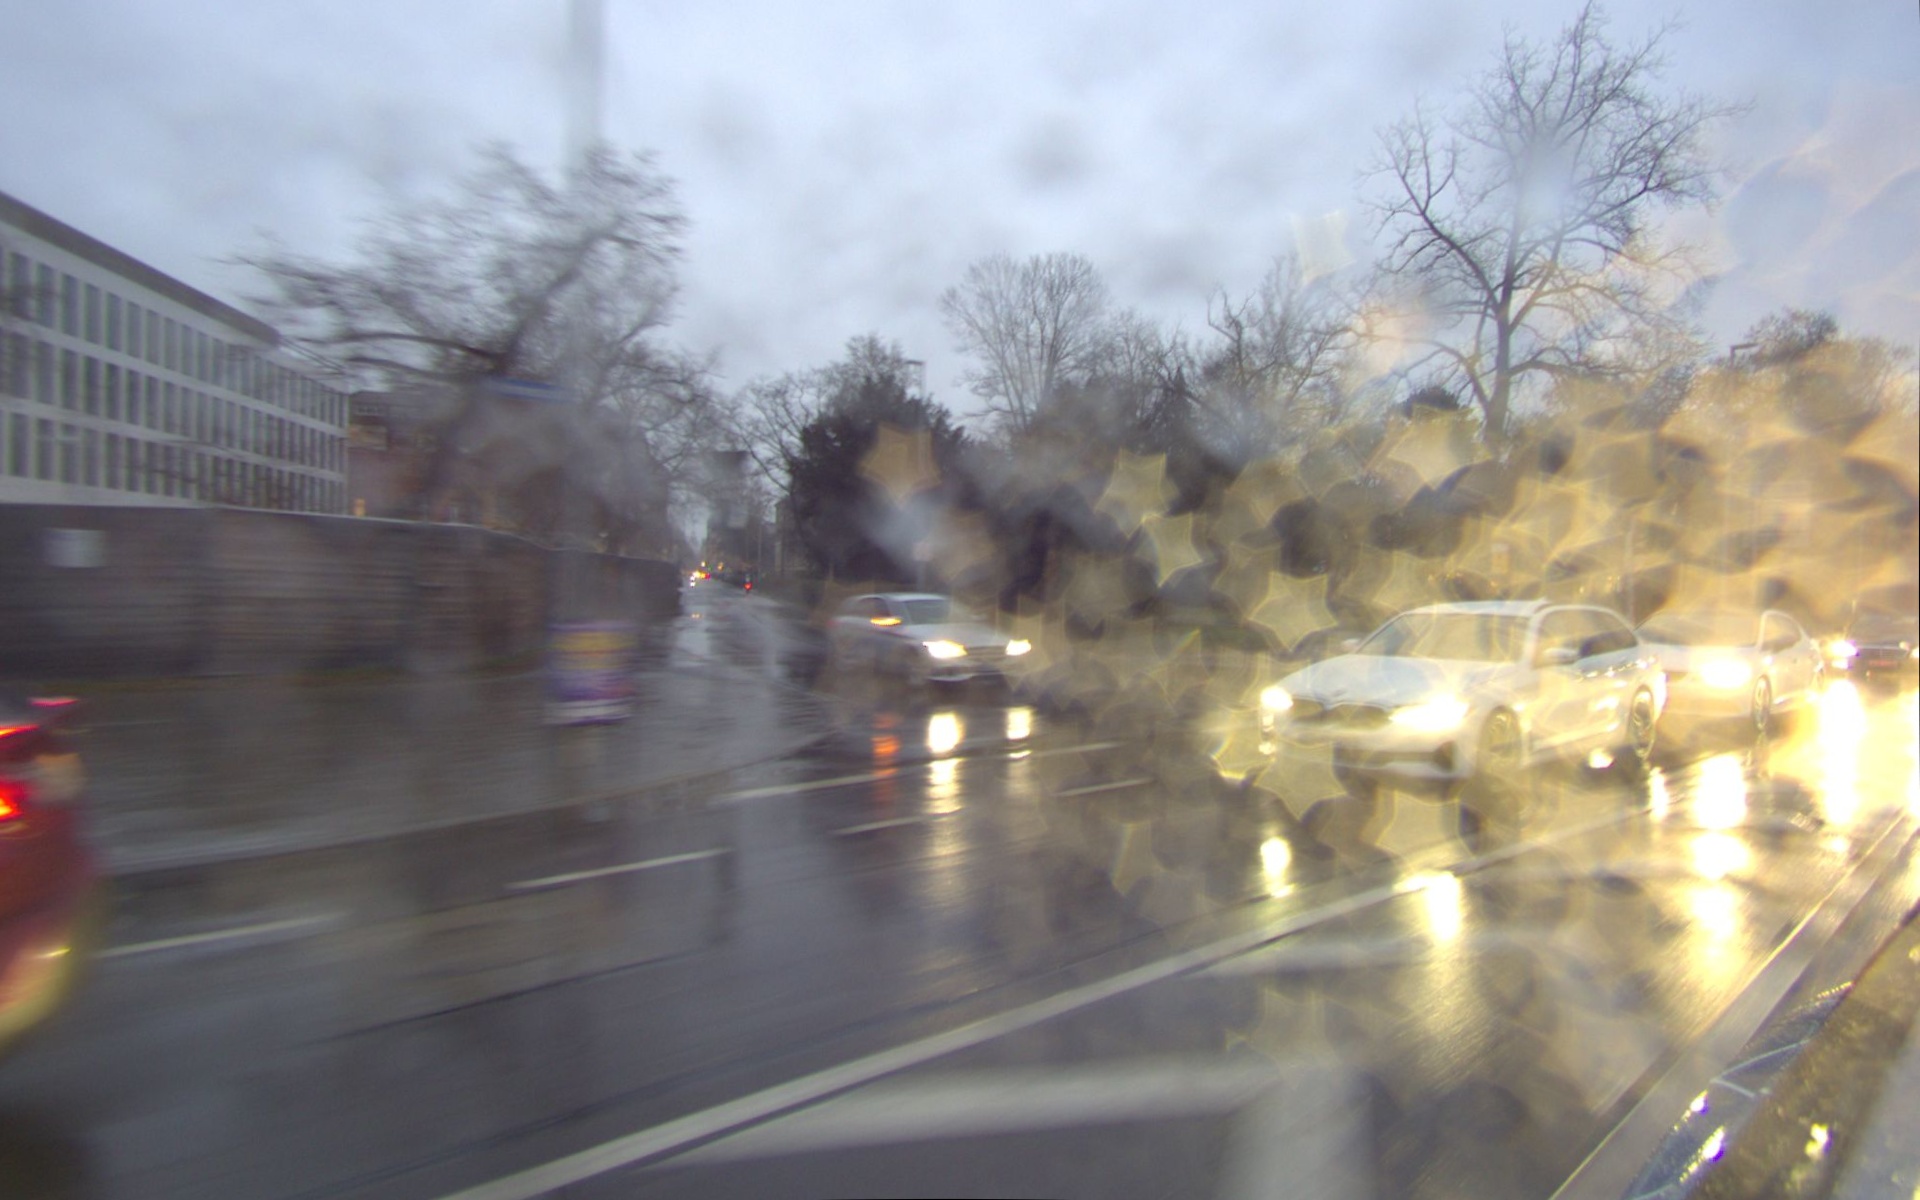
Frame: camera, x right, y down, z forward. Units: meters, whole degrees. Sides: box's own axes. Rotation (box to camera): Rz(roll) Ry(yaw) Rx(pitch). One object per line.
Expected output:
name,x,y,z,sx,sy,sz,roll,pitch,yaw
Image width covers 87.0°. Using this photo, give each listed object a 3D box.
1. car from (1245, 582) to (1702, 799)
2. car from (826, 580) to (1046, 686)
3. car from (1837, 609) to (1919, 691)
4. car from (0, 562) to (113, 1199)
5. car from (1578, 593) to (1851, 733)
car,4.880,0.621,9.284,4.875,1.520,1.792,0,1,-37
car,-0.576,0.450,17.225,1.844,1.507,4.524,0,1,-29
car,20.502,1.025,21.834,4.007,1.517,1.879,-1,2,-42
car,-4.207,0.686,1.877,3.926,1.498,1.727,-1,0,-37
car,9.779,0.675,13.038,3.966,1.479,1.779,-1,2,-37
